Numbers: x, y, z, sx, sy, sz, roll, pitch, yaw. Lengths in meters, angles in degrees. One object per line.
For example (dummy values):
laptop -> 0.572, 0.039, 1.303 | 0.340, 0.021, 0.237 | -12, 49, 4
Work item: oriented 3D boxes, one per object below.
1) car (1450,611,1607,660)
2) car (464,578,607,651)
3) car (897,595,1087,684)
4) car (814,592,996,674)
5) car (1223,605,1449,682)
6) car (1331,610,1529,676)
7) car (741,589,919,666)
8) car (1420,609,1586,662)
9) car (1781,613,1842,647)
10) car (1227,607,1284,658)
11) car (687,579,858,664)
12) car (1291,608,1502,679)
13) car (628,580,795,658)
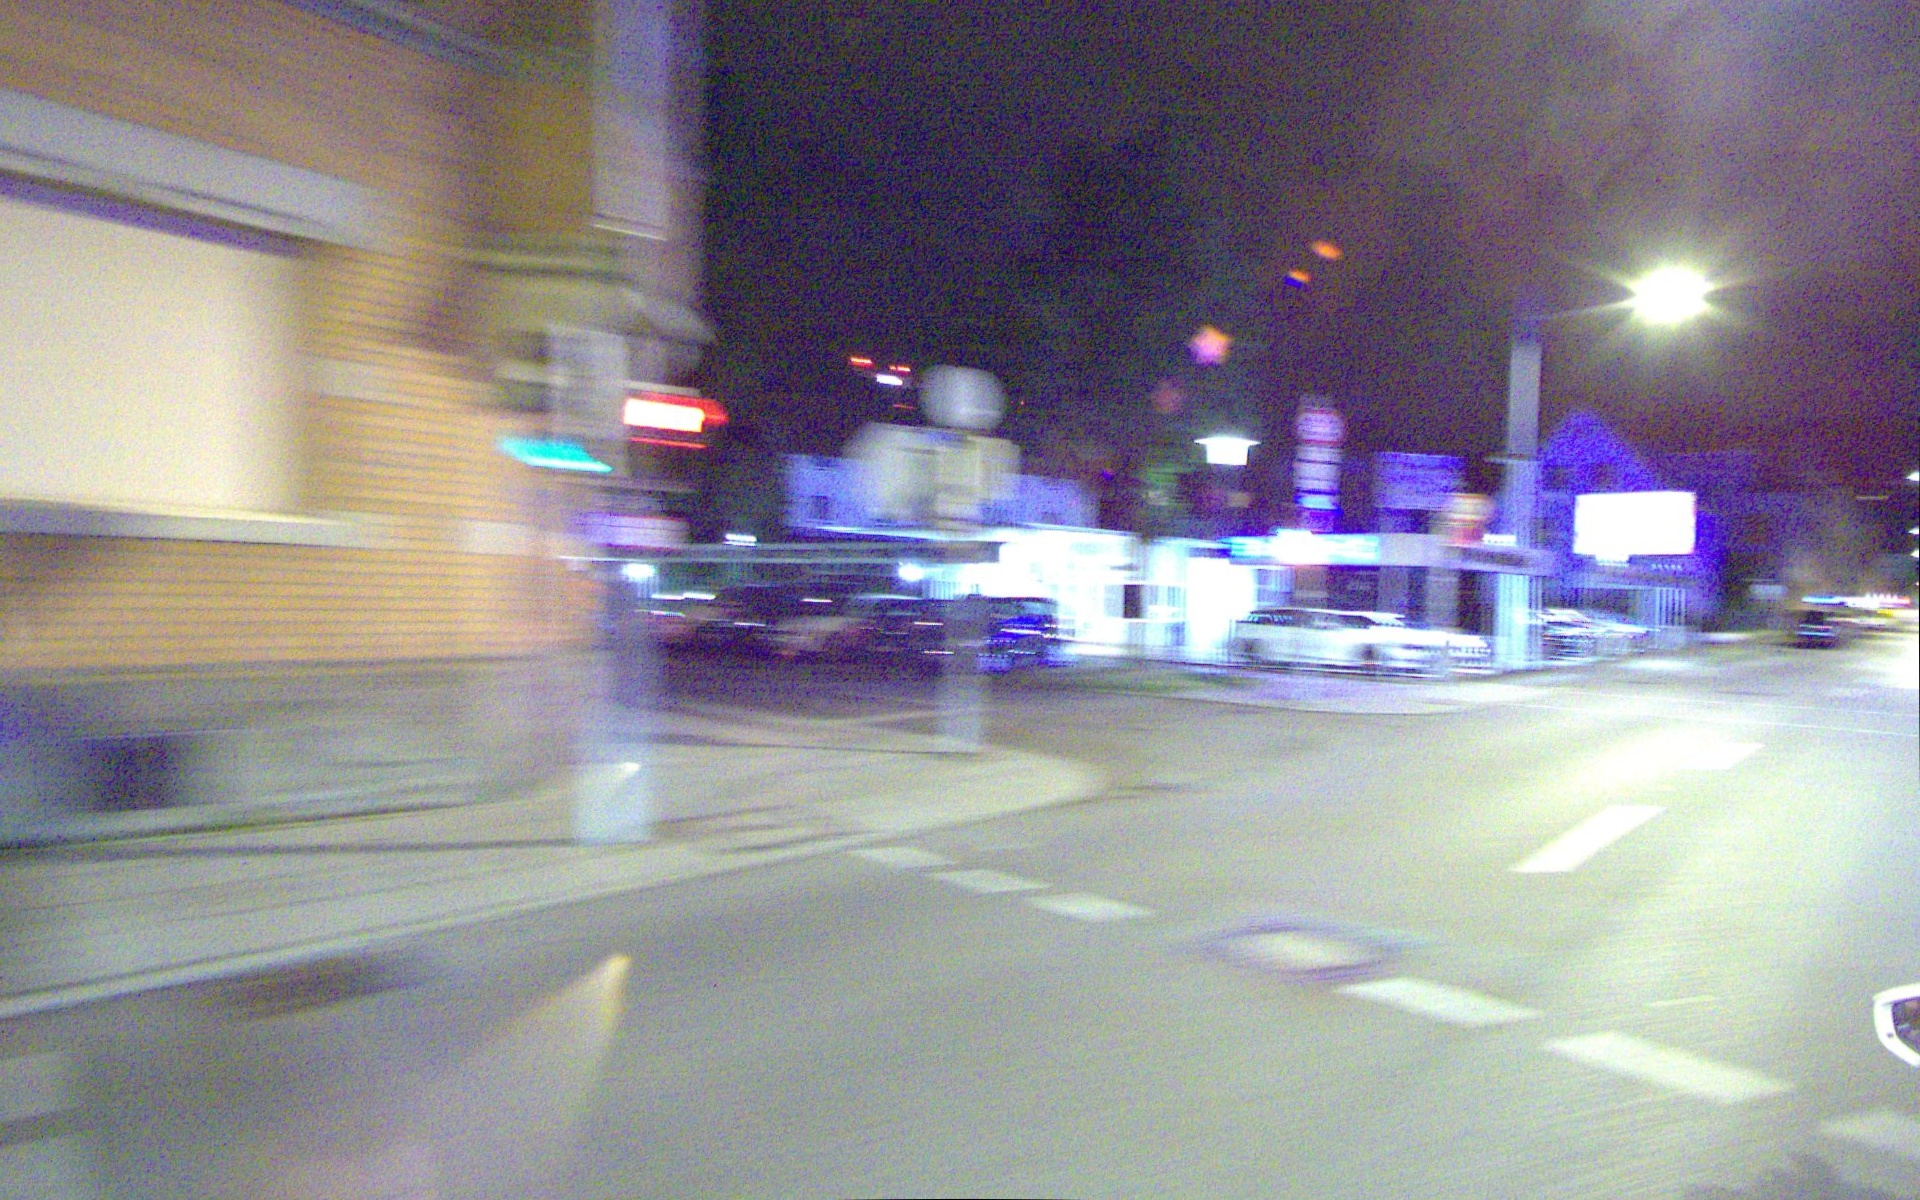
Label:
car -> 19.738, 1.204, 34.987 | 4.393, 1.469, 1.988 | 2, 0, 45
car -> -11.878, 0.375, 28.050 | 3.937, 1.805, 1.992 | 2, 0, 38
car -> 0.759, 0.782, 21.387 | 1.970, 1.644, 3.981 | 3, 1, 40
car -> -1.197, 0.706, 23.166 | 1.970, 1.644, 3.981 | 3, 1, 40
car -> 8.514, 0.936, 22.979 | 4.393, 1.469, 1.988 | 2, 0, 45
car -> 12.552, 1.108, 26.984 | 4.393, 1.469, 1.988 | 2, 0, 45
car -> -3.085, 0.636, 24.402 | 1.970, 1.644, 3.981 | 3, 1, 40
car -> 17.735, 1.123, 32.945 | 4.393, 1.469, 1.988 | 2, 0, 45
car -> 41.794, 1.468, 49.252 | 1.973, 1.522, 3.975 | 2, 0, 45
car -> 11.547, 1.229, 39.394 | 1.960, 1.798, 4.002 | 2, 0, 16
car -> -4.772, 0.525, 25.998 | 1.970, 1.971, 3.981 | 3, 1, 40
car -> 10.812, 1.034, 25.068 | 4.392, 1.469, 1.988 | 2, 0, 44
car -> -6.653, 0.491, 27.197 | 1.970, 1.911, 3.981 | 3, 1, 40
